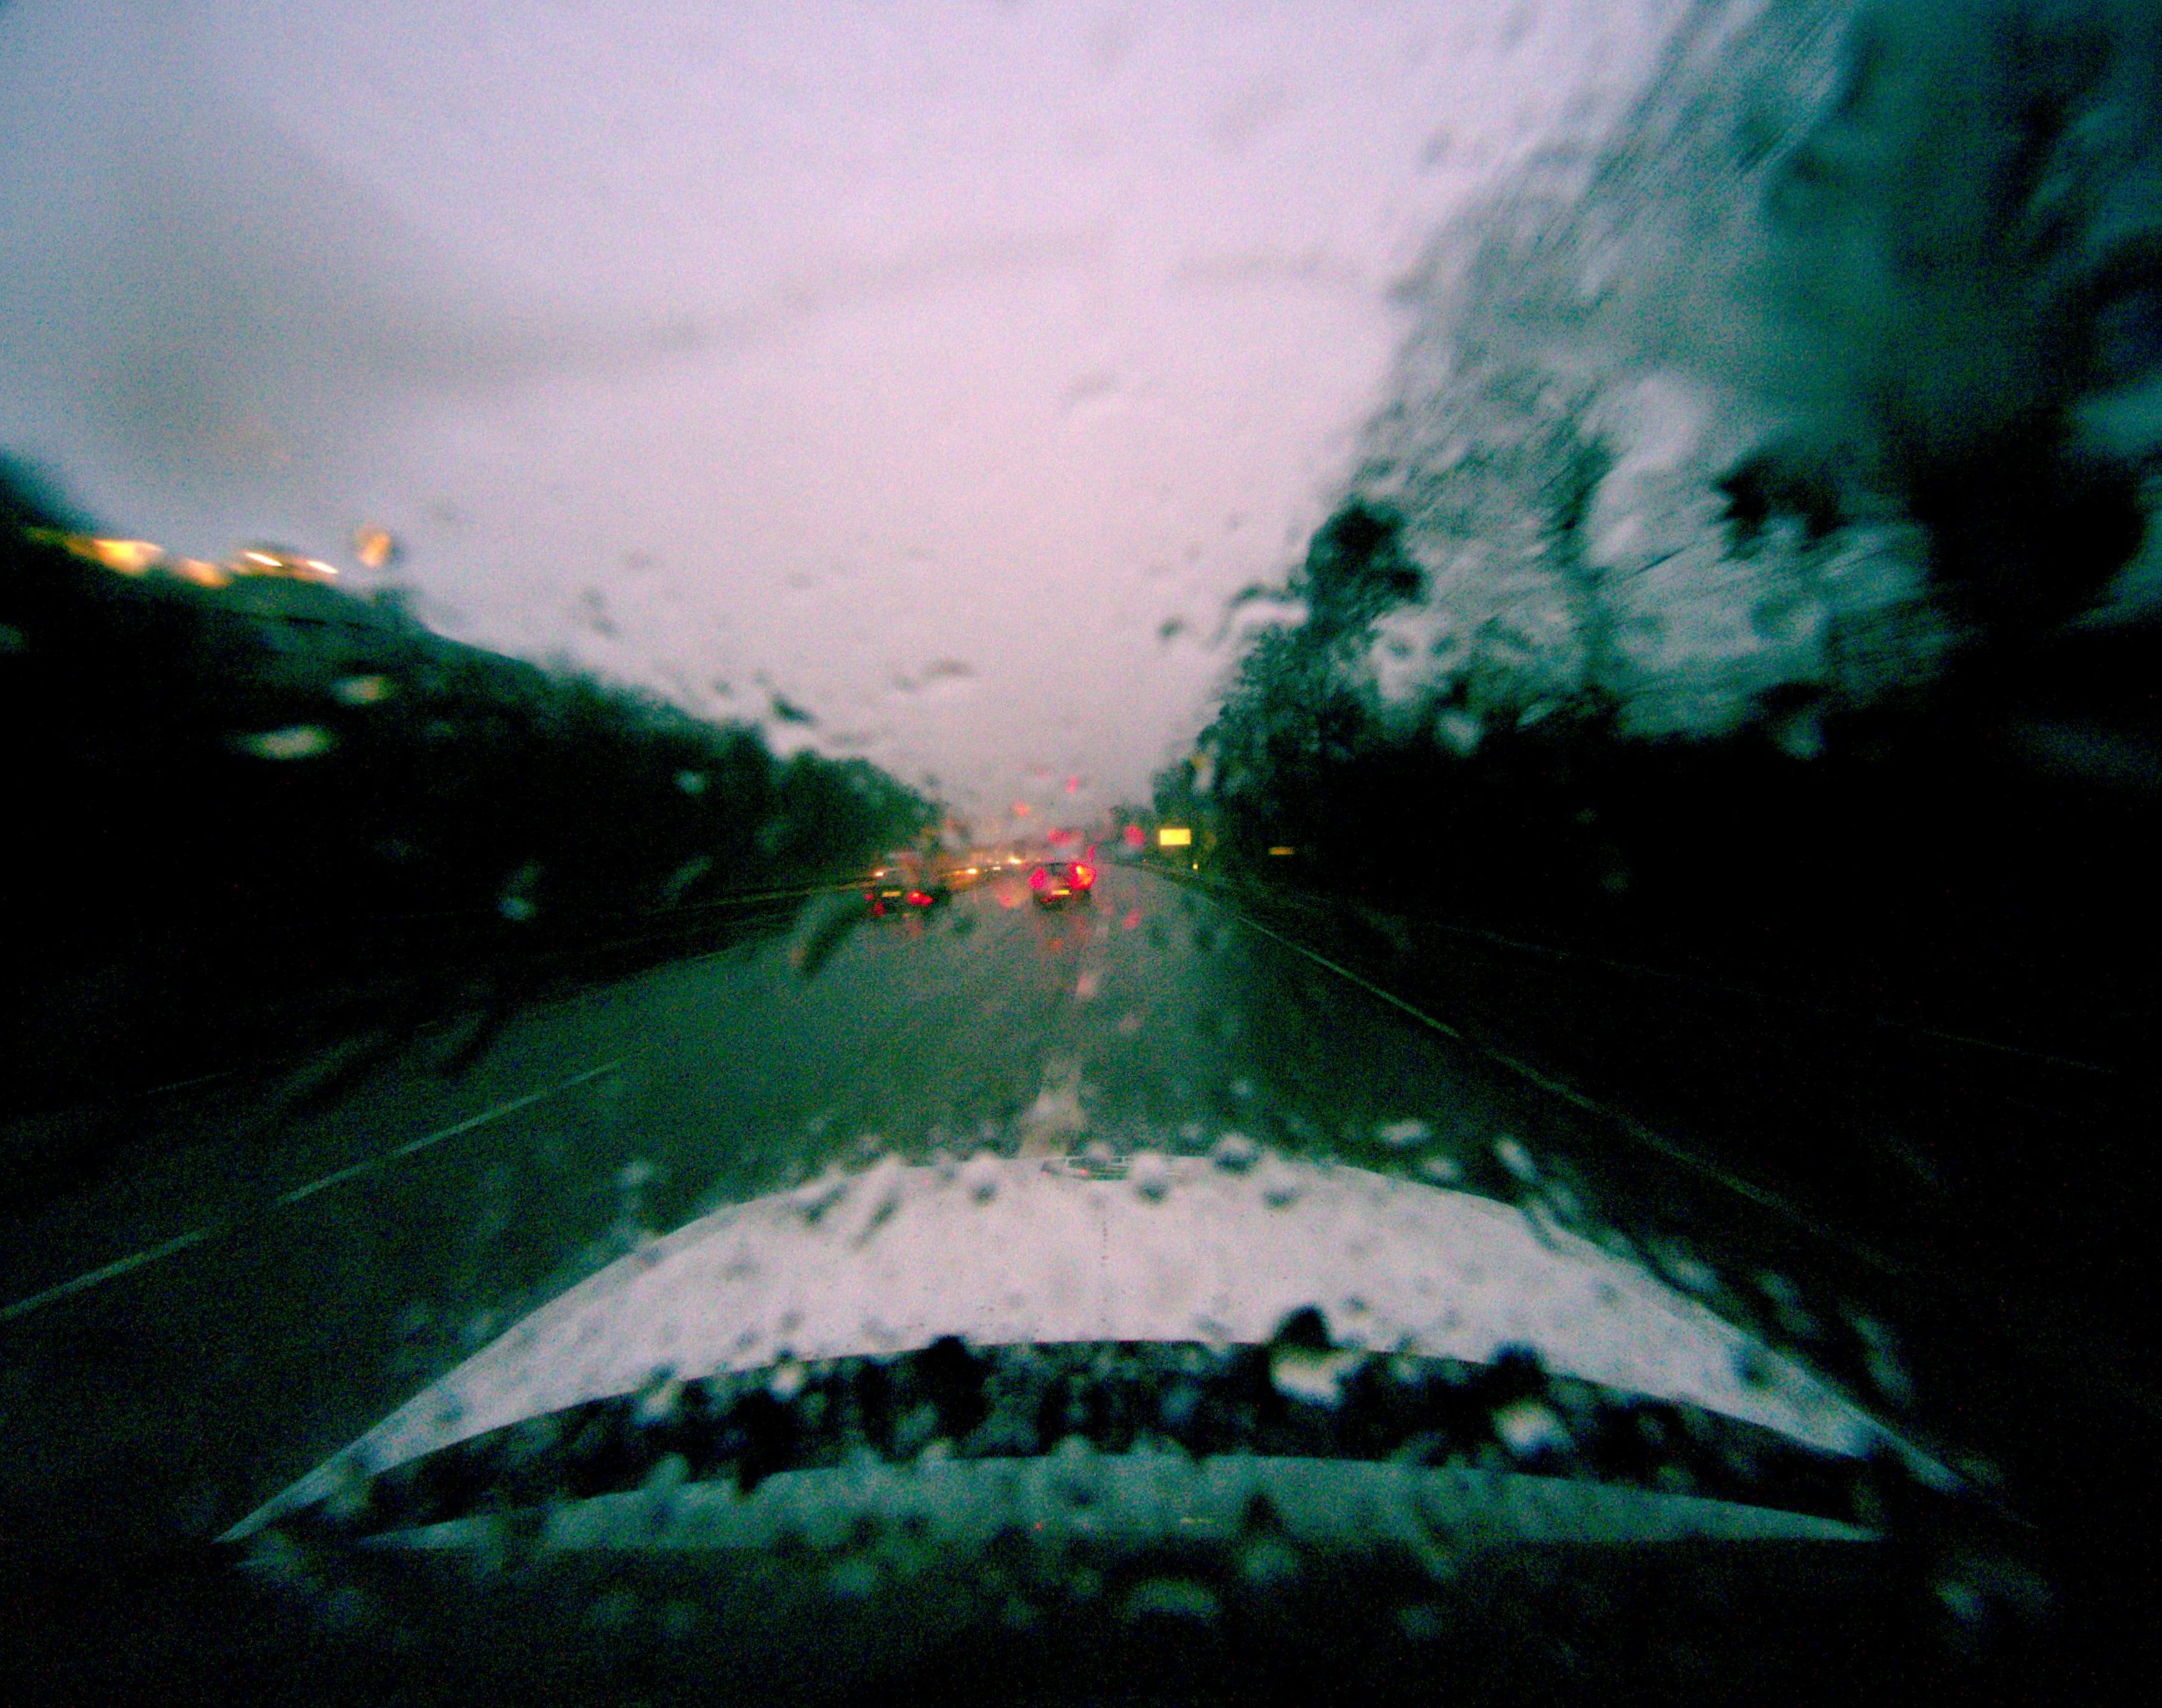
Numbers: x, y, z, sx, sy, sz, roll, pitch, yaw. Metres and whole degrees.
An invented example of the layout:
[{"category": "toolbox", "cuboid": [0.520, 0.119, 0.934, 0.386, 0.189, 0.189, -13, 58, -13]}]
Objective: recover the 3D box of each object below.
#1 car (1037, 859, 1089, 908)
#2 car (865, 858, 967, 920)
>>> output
[{"category": "car", "cuboid": [-0.511, 0.892, 25.854, 1.522, 1.415, 3.479, 0, 0, 1]}, {"category": "car", "cuboid": [-4.820, 0.960, 24.530, 1.768, 1.534, 4.707, -4, 0, 3]}]
